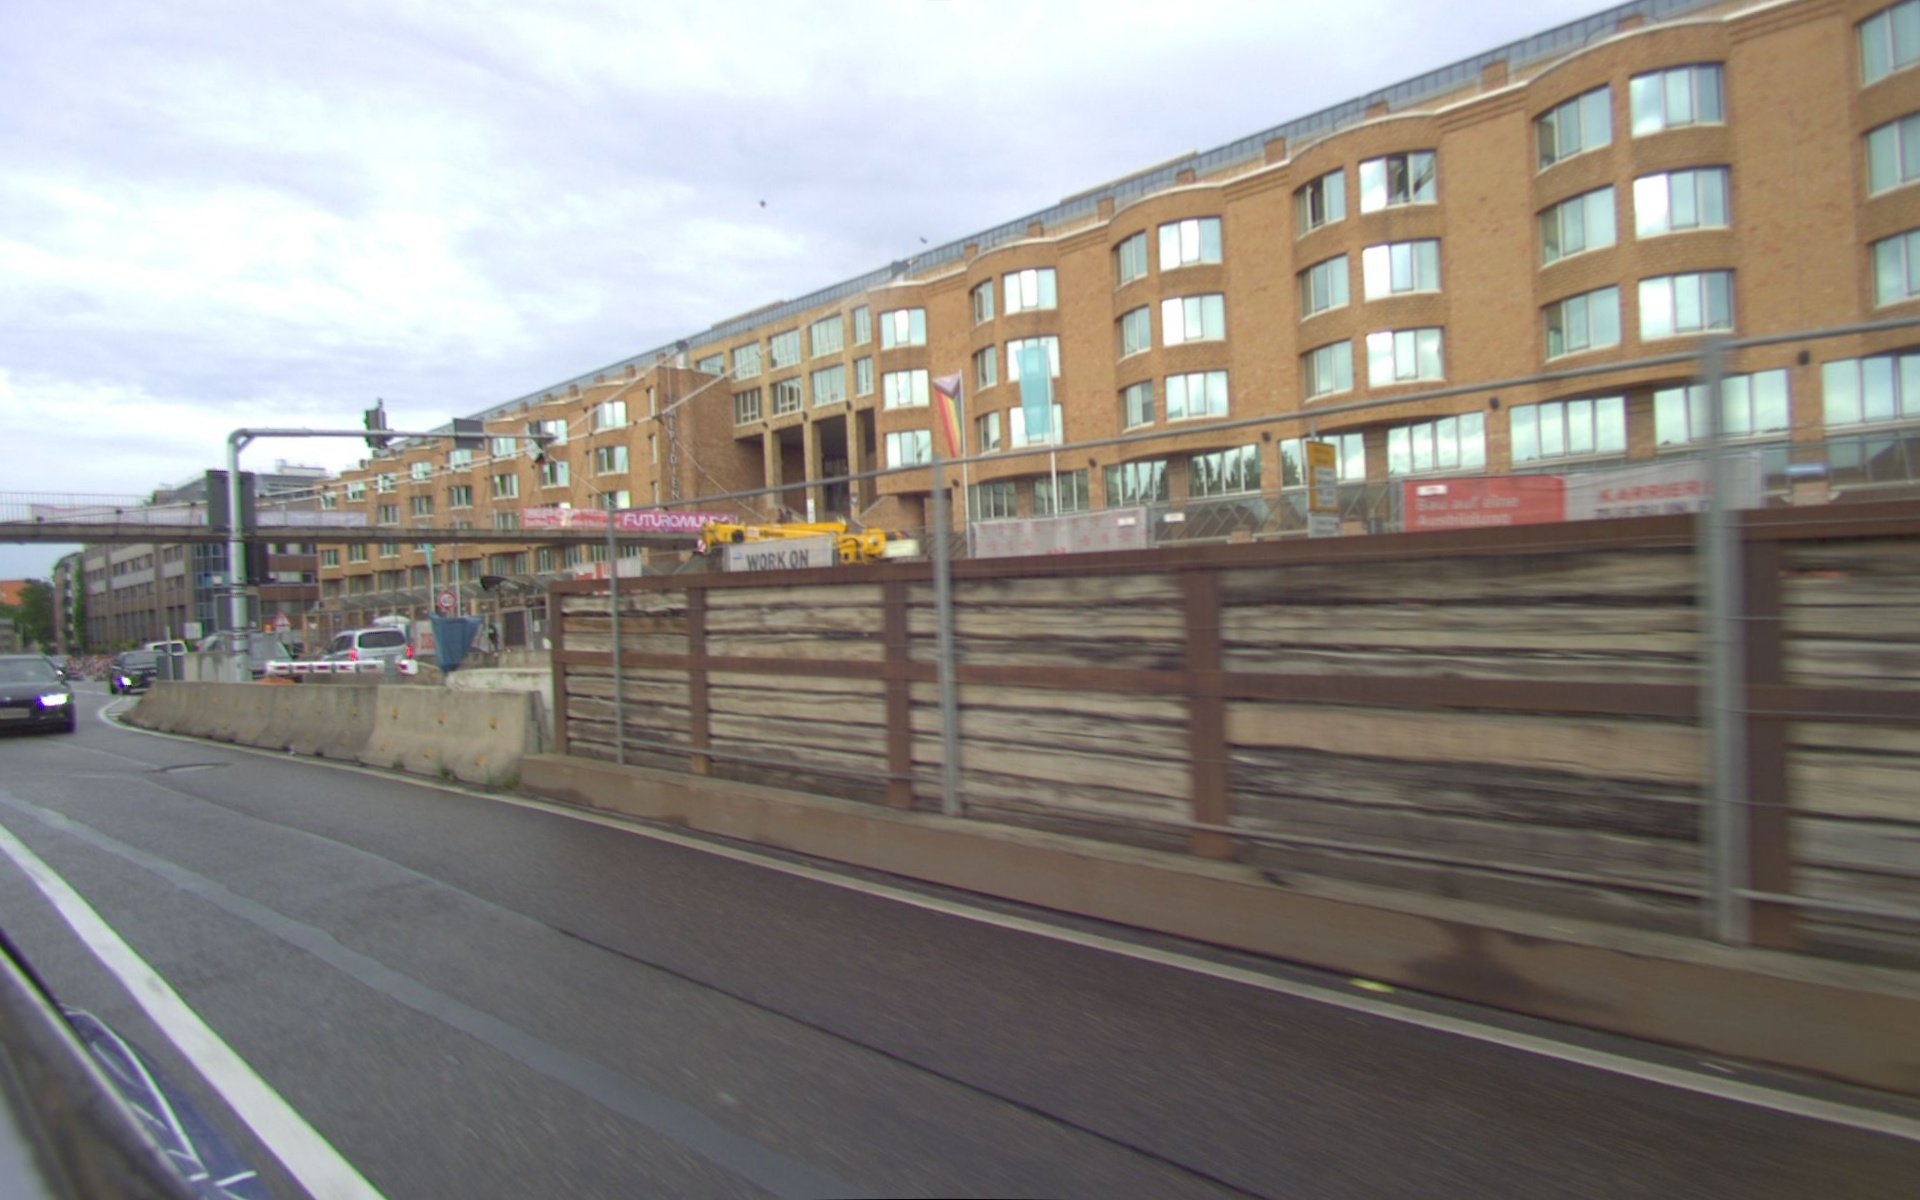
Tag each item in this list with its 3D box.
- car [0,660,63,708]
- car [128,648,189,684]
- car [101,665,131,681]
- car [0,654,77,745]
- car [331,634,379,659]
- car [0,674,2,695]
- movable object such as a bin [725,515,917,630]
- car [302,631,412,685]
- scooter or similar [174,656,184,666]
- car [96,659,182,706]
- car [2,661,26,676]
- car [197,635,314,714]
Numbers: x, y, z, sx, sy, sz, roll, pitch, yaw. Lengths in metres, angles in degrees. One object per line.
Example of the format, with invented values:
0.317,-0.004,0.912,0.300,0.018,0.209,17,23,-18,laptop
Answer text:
-35.444,3.163,38.299,4.656,1.545,1.749,-4,-1,43,car
-46.135,3.808,58.222,5.298,1.835,1.787,-5,-2,41,car
-94.130,8.142,112.885,4.360,1.538,1.742,-4,-2,40,car
-17.534,1.804,18.617,1.746,1.454,4.664,-3,-1,-39,car
-53.727,4.154,89.834,5.008,1.900,1.974,-4,-1,39,car
-72.162,6.325,74.871,1.748,1.545,4.658,-3,-1,-45,car
-3.282,-0.511,23.457,4.288,2.295,2.006,-4,-4,39,movable object such as a bin
-19.625,1.879,32.854,4.520,1.561,1.729,-4,-1,41,car
-87.448,6.862,113.287,1.041,1.071,0.446,-4,-1,30,scooter or similar
-31.336,3.139,38.594,4.353,1.545,1.750,-4,-1,40,car
-133.610,9.710,142.953,4.867,1.899,1.973,-4,-1,41,car
-18.783,1.949,26.927,1.774,1.814,4.253,-4,0,-45,car
